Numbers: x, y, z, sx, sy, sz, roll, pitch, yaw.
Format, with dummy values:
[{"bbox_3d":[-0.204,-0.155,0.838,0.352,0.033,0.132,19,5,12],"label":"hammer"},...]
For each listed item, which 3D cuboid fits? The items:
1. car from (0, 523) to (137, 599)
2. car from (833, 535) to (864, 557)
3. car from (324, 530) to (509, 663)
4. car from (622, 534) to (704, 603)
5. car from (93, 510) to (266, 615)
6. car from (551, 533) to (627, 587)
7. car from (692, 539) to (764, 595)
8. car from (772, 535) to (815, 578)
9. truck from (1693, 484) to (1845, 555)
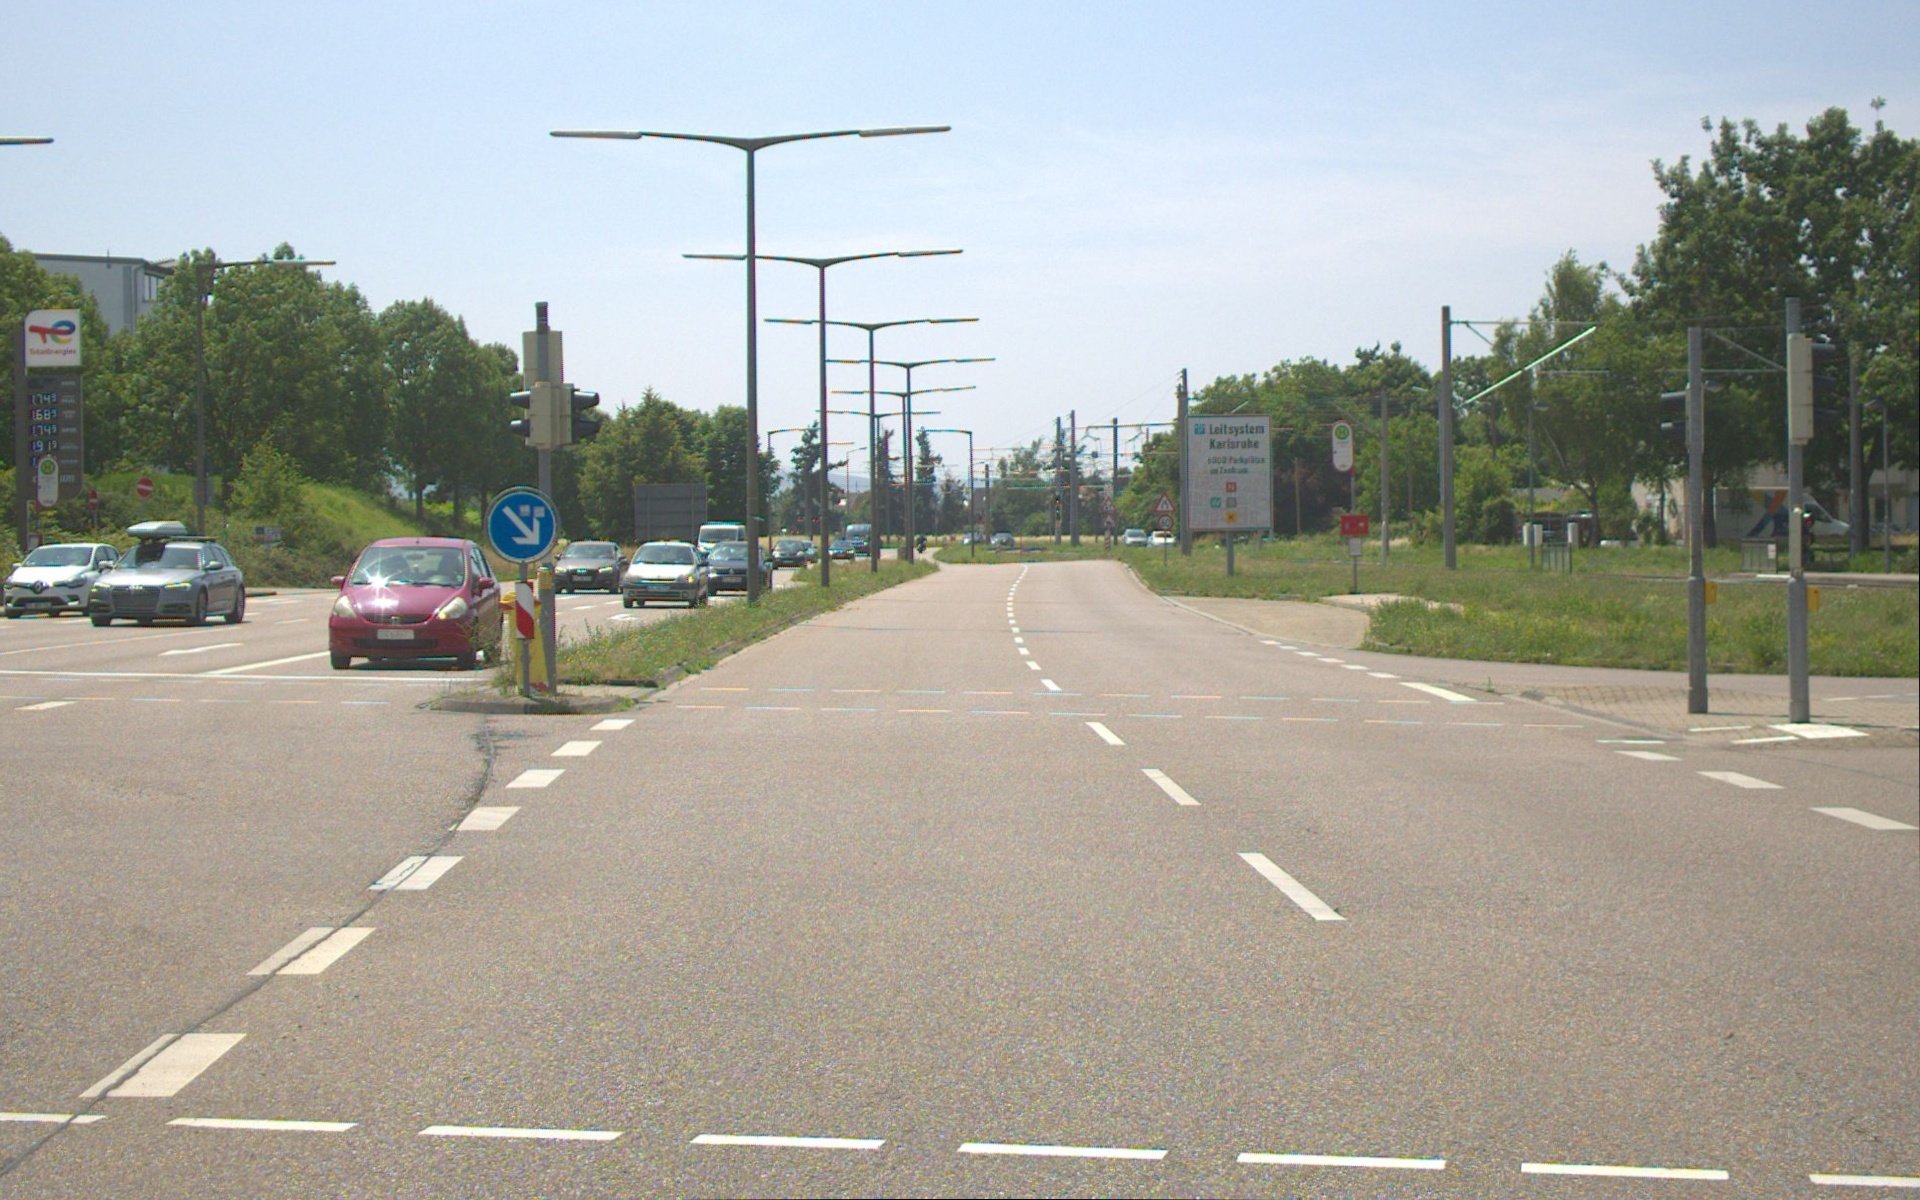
[{"bbox_3d":[-17.694,-0.762,67.872,1.823,1.444,3.827,0,1,2],"label":"car"},{"bbox_3d":[-7.629,-3.698,234.860,1.731,1.453,4.564,-1,1,3],"label":"car"},{"bbox_3d":[-6.434,-0.081,41.060,1.658,1.485,4.000,0,1,-1],"label":"car"},{"bbox_3d":[-6.459,-0.704,75.076,1.560,1.418,3.854,0,2,-1],"label":"car"},{"bbox_3d":[-13.516,-0.685,59.803,1.964,1.744,5.023,0,1,-1],"label":"car"},{"bbox_3d":[-10.088,-1.096,93.707,1.637,1.424,4.052,0,1,0],"label":"car"},{"bbox_3d":[-6.154,-0.901,91.465,1.675,1.429,4.191,0,1,-1],"label":"car"},{"bbox_3d":[-8.091,-2.097,166.434,1.993,2.007,4.001,1,0,-4],"label":"car"},{"bbox_3d":[34.685,-3.449,147.491,5.839,2.833,2.321,-2,1,-7],"label":"truck"}]
